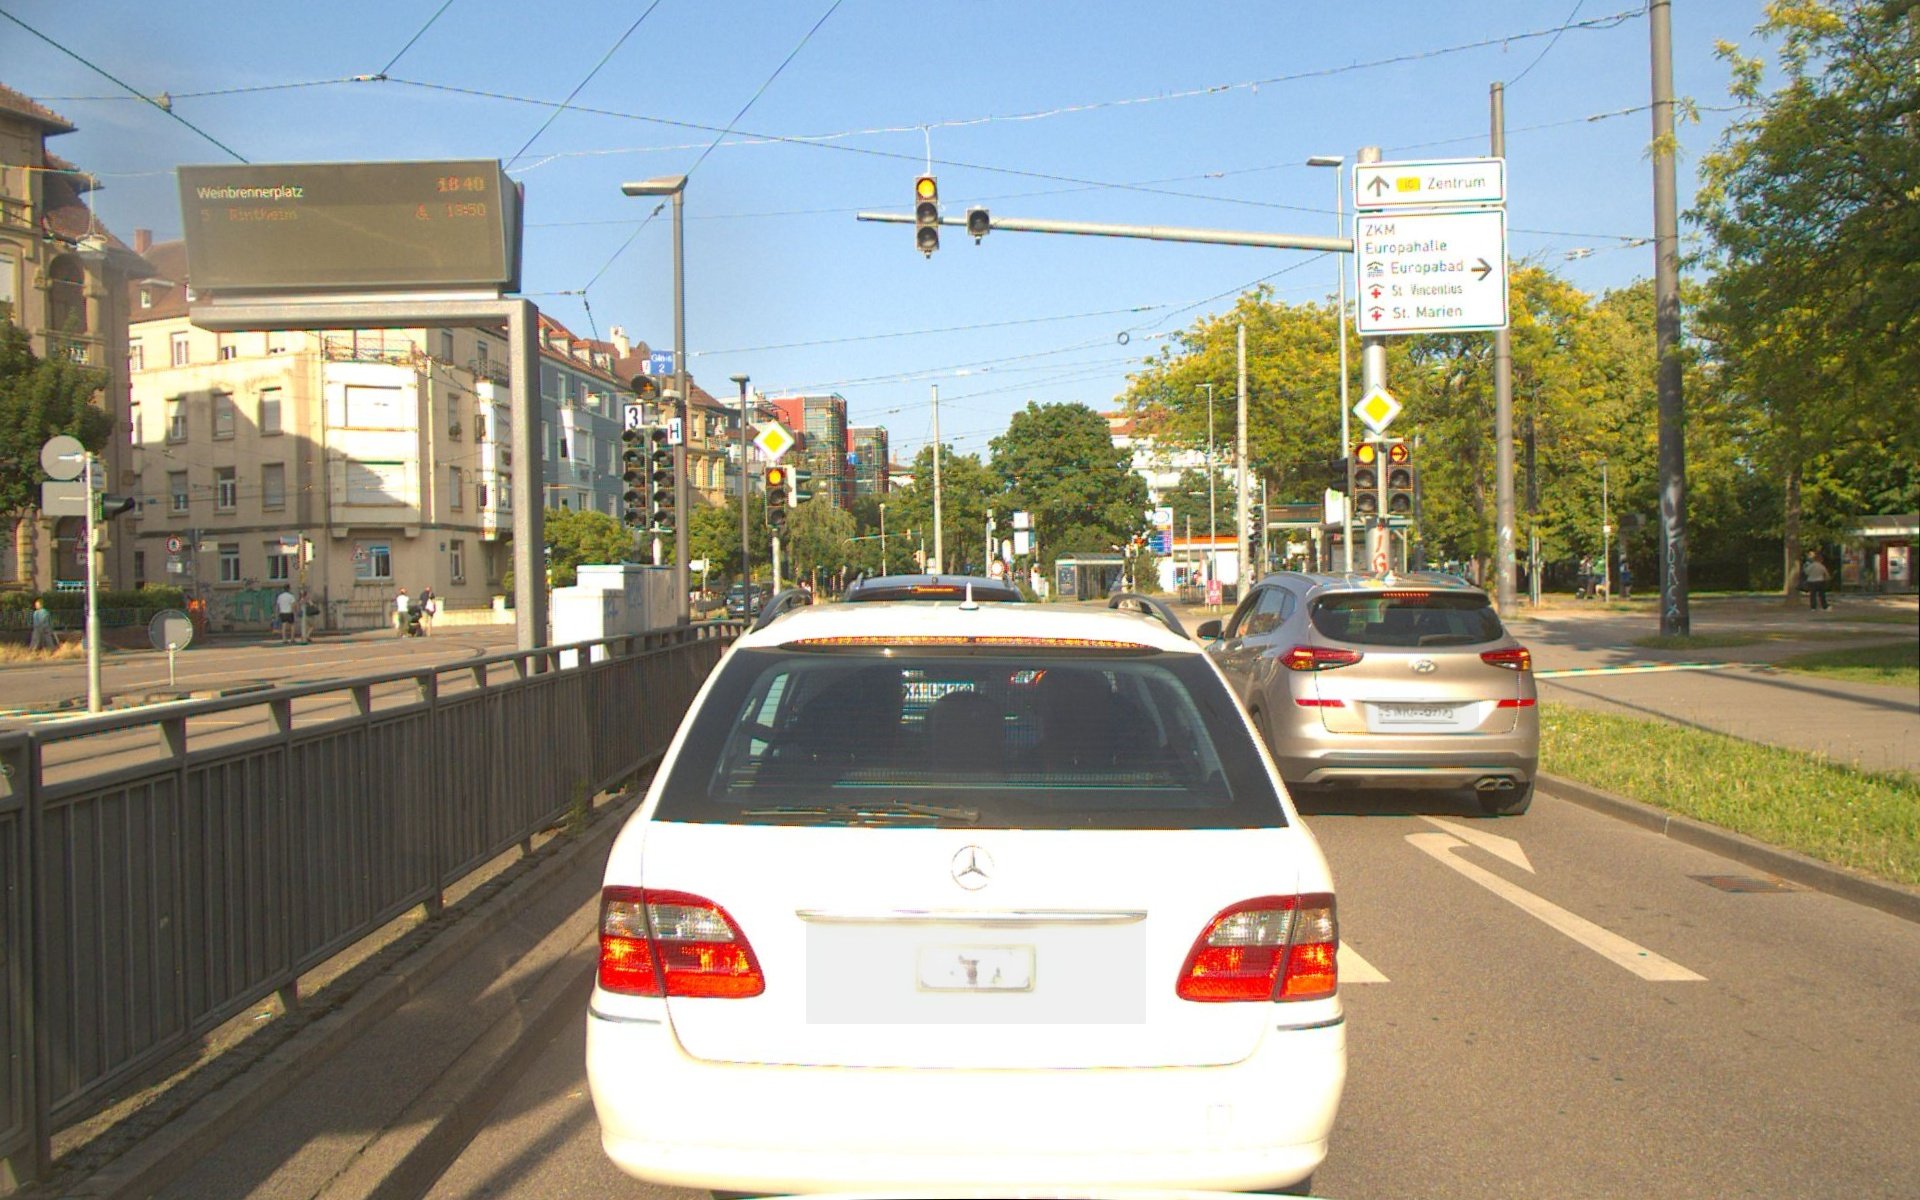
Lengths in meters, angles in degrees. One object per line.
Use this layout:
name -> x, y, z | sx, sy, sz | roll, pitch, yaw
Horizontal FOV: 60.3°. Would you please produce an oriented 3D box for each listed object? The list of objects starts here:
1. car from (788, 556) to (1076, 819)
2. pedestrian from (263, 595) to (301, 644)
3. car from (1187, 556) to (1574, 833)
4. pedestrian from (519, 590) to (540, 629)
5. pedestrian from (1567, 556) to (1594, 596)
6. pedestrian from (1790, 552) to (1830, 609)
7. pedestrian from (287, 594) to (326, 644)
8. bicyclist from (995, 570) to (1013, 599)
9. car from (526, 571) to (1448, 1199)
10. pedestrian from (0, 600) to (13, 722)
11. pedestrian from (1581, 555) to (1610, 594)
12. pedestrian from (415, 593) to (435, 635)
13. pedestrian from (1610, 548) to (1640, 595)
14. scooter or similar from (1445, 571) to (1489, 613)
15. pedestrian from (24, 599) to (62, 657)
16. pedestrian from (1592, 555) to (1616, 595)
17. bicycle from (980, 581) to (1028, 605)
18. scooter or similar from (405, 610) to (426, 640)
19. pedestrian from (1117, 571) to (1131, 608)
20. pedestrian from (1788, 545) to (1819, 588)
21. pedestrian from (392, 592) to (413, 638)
car -> -0.199, 0.554, 12.553 | 1.846, 1.680, 3.647 | 1, 0, -1
pedestrian -> -22.163, 0.635, 54.076 | 0.812, 1.579, 0.782 | -1, 0, 21
car -> 2.885, 0.575, 12.175 | 1.846, 1.680, 3.647 | -2, 0, -1
pedestrian -> -18.937, 0.396, 72.752 | 0.572, 1.689, 0.622 | -1, 0, 20
pedestrian -> 24.064, -0.919, 64.129 | 0.809, 1.513, 0.690 | -2, 0, -42
pedestrian -> 25.038, -0.565, 48.732 | 0.748, 1.665, 0.797 | -2, 0, -40
pedestrian -> -21.305, 0.611, 53.927 | 0.812, 1.579, 0.782 | -1, 0, 21
bicyclist -> 2.362, -0.849, 88.632 | 0.842, 1.507, 0.790 | -1, 0, 8
car -> 0.019, 0.682, 4.983 | 1.759, 1.496, 3.647 | 0, 0, -1
pedestrian -> -13.167, 0.826, 22.159 | 0.601, 1.627, 0.632 | -1, 0, -7
pedestrian -> 24.872, -0.984, 64.749 | 0.799, 1.513, 0.699 | -1, 0, -12
pedestrian -> -19.373, 0.509, 59.919 | 0.428, 1.527, 0.549 | -1, 0, 14
pedestrian -> 25.890, -1.114, 64.409 | 0.784, 1.816, 0.838 | -1, 0, -5
scooter or similar -> 14.005, -0.228, 45.713 | 0.413, 1.136, 1.322 | -1, 0, -20
pedestrian -> -25.029, 0.757, 45.140 | 0.616, 1.568, 0.711 | -1, 0, -1
pedestrian -> 24.612, -0.965, 63.233 | 0.797, 1.513, 0.700 | -1, 0, 24
bicycle -> 2.356, -0.369, 88.636 | 2.430, 1.234, 0.807 | -1, 0, 7
scooter or similar -> -20.019, 0.910, 60.786 | 0.532, 1.098, 0.683 | 1, 0, -1
pedestrian -> 8.317, -0.534, 83.908 | 0.628, 1.889, 0.552 | -1, 0, 11
pedestrian -> 33.345, -1.327, 65.367 | 0.818, 1.665, 0.803 | -1, 0, 5
pedestrian -> -20.201, 0.527, 59.909 | 0.497, 1.654, 0.608 | -1, 0, 0
